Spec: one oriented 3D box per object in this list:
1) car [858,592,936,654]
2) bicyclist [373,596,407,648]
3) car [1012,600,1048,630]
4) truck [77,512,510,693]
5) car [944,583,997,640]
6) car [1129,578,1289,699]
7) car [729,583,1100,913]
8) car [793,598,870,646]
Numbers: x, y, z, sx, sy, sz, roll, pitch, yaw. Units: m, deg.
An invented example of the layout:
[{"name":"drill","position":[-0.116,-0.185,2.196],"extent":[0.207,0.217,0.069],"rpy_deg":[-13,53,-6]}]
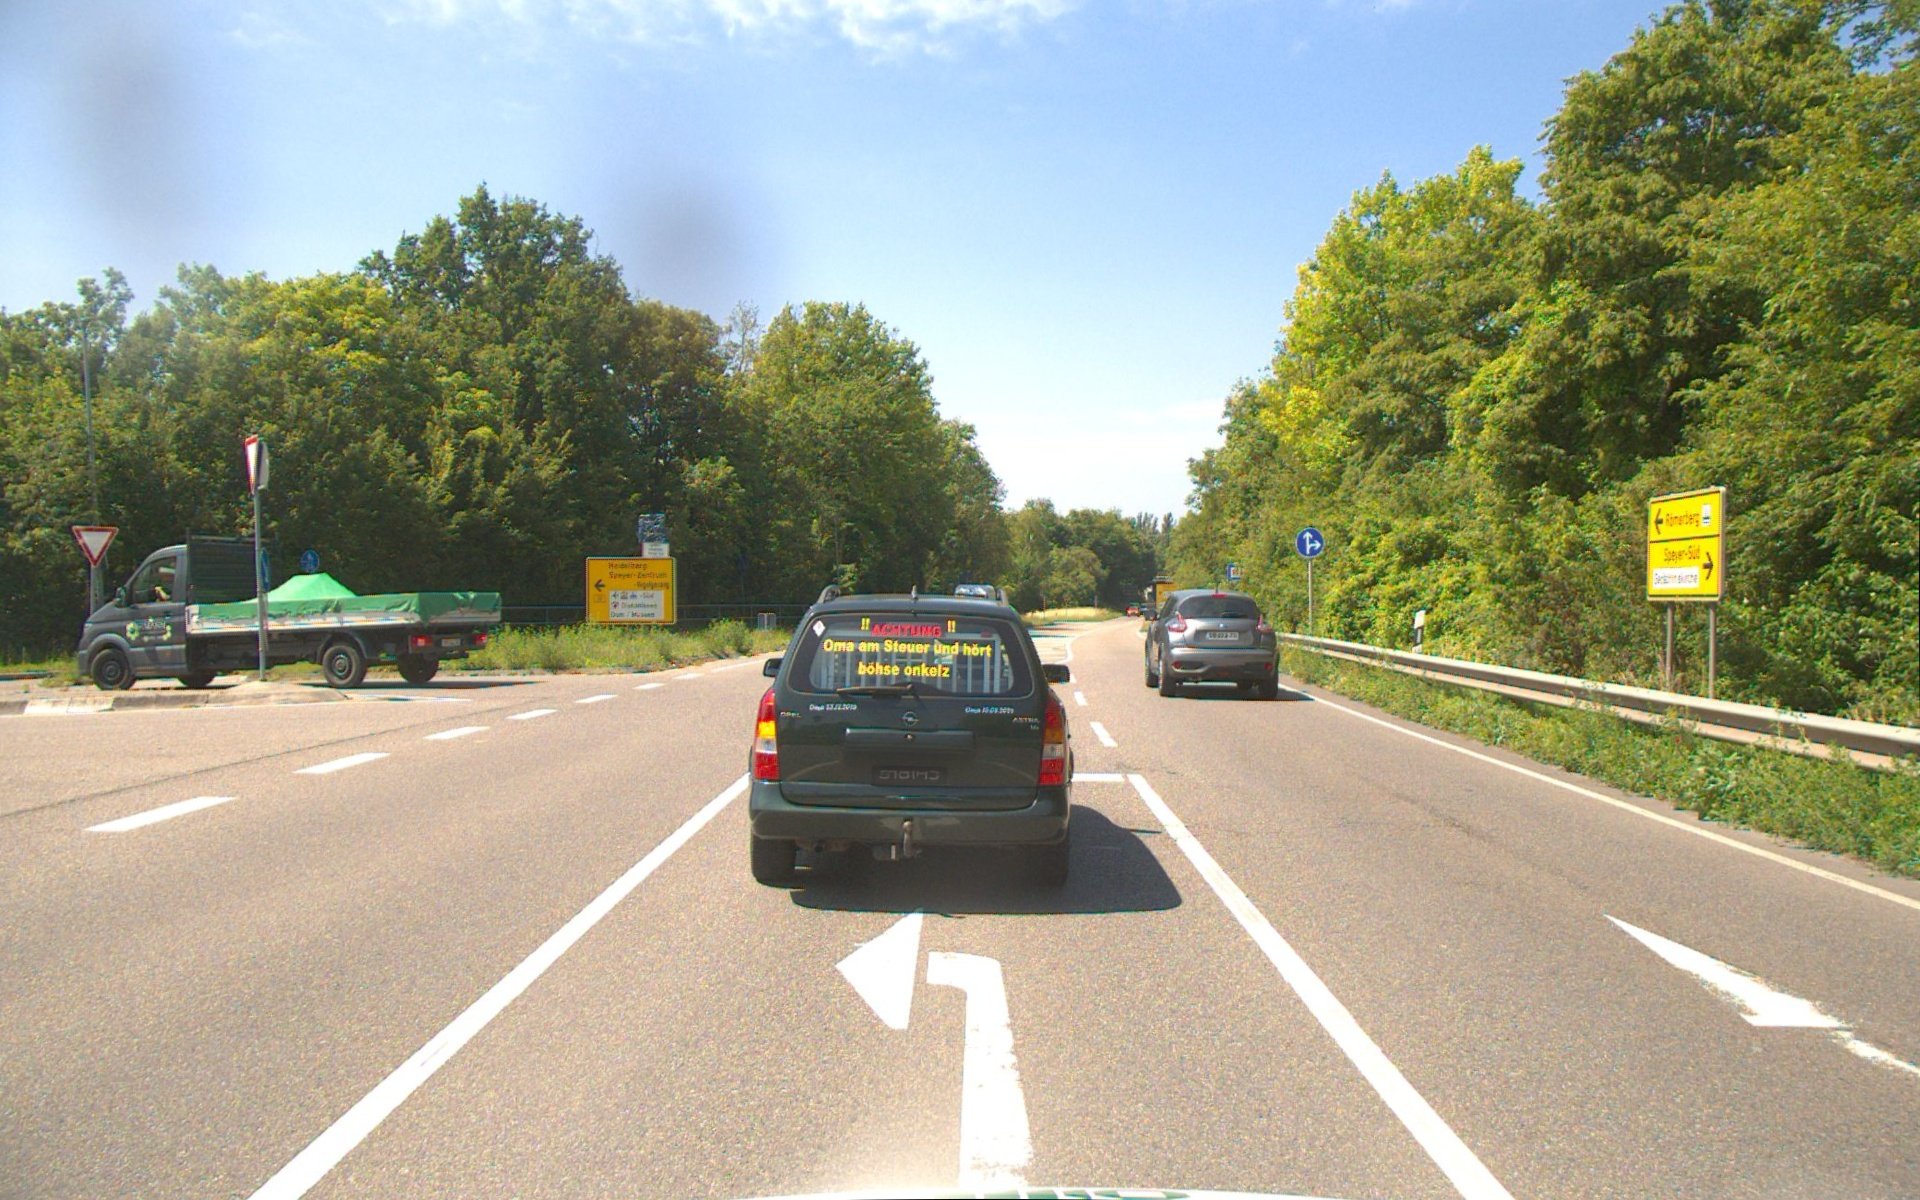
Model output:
[{"name":"car","position":[-1.507,0.530,40.785],"extent":[1.610,1.443,3.767],"rpy_deg":[1,0,2]},{"name":"bicyclist","position":[-15.696,0.598,45.526],"extent":[0.675,1.387,0.607],"rpy_deg":[0,1,34]},{"name":"car","position":[7.977,1.681,188.577],"extent":[1.970,3.282,4.767],"rpy_deg":[0,0,-27]},{"name":"truck","position":[-10.558,0.087,26.202],"extent":[6.478,2.610,2.147],"rpy_deg":[-1,0,18]},{"name":"car","position":[0.599,0.572,87.205],"extent":[2.060,2.900,6.016],"rpy_deg":[1,0,7]},{"name":"car","position":[3.742,0.523,25.485],"extent":[1.806,1.714,3.999],"rpy_deg":[0,1,-1]},{"name":"car","position":[-0.209,0.658,9.460],"extent":[1.685,1.482,3.797],"rpy_deg":[0,1,0]},{"name":"car","position":[-4.822,0.808,62.594],"extent":[1.636,1.691,4.003],"rpy_deg":[0,1,16]}]
